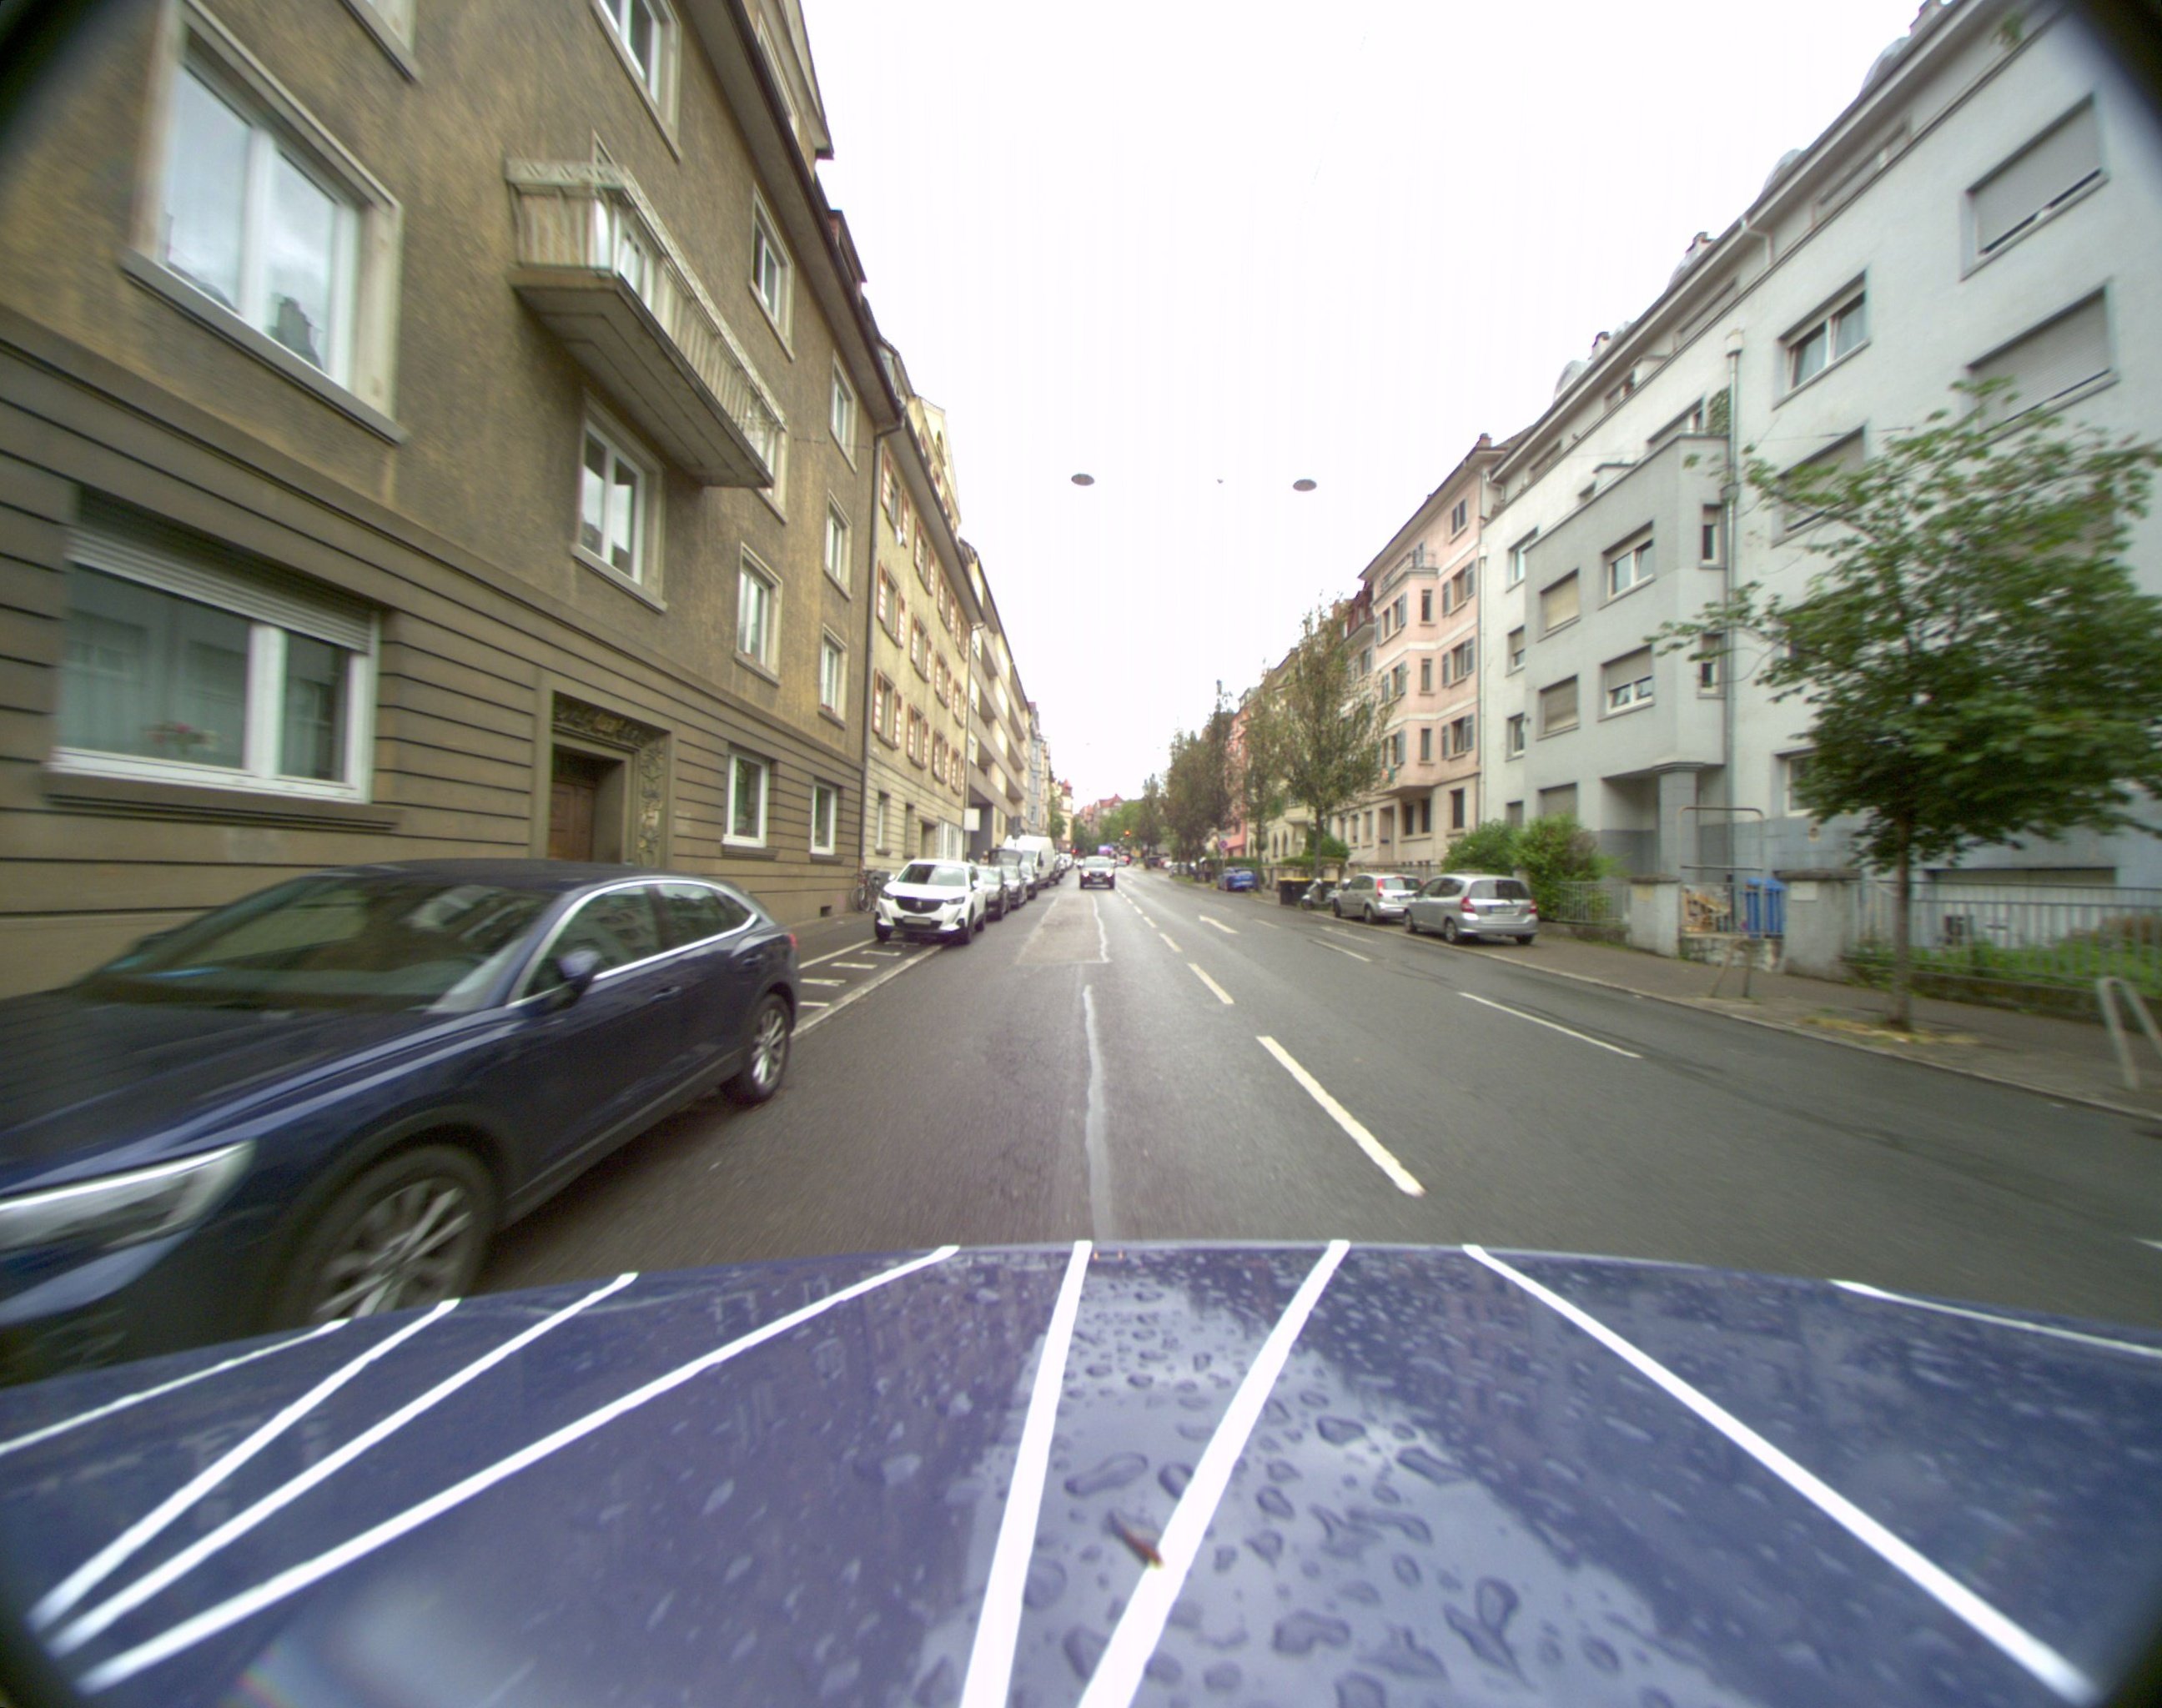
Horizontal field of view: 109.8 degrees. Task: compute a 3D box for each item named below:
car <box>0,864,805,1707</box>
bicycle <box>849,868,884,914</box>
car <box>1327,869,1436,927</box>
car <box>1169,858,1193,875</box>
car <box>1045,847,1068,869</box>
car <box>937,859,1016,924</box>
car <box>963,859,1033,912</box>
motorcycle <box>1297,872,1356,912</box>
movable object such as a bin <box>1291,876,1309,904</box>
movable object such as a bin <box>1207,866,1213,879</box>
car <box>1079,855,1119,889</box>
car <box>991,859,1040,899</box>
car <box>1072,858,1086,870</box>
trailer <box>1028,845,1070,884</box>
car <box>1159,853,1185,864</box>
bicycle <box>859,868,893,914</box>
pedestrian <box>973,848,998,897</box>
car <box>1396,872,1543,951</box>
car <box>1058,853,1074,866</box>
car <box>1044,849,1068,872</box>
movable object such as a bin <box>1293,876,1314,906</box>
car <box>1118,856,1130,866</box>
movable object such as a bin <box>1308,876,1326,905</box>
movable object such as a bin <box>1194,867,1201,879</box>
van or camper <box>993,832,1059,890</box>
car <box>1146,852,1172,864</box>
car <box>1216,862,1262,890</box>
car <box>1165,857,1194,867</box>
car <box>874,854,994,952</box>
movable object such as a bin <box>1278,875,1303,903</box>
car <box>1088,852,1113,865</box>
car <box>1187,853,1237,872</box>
[{"bbox_3d":[-2.925,0.874,3.312,1.795,1.539,4.226,2,0,1],"label":"car"},{"bbox_3d":[-5.623,0.938,19.967,0.248,1.067,2.106,3,1,1],"label":"bicycle"},{"bbox_3d":[8.671,1.222,22.288,1.605,1.388,3.886,1,1,0],"label":"car"},{"bbox_3d":[9.413,1.145,71.776,1.685,1.409,4.137,2,1,1],"label":"car"},{"bbox_3d":[-1.969,0.301,62.477,1.751,1.630,4.273,2,1,0],"label":"car"},{"bbox_3d":[-2.784,0.956,20.892,1.636,1.470,3.734,4,0,-1],"label":"car"},{"bbox_3d":[-2.686,0.972,25.497,1.782,1.471,4.587,1,1,0],"label":"car"},{"bbox_3d":[8.593,1.315,26.612,1.806,1.307,0.743,1,1,42],"label":"motorcycle"},{"bbox_3d":[8.464,1.389,29.359,0.472,1.052,0.483,-2,2,-8],"label":"movable object such as a bin"},{"bbox_3d":[9.505,1.378,55.993,0.365,0.906,0.572,-1,1,0],"label":"movable object such as a bin"},{"bbox_3d":[0.893,0.920,39.812,1.890,1.543,3.999,-2,1,-1],"label":"car"},{"bbox_3d":[-2.621,0.968,31.078,1.782,1.470,4.188,1,0,-2],"label":"car"},{"bbox_3d":[-0.245,1.260,97.422,1.709,1.389,3.932,-2,0,1],"label":"car"},{"bbox_3d":[-1.869,0.631,46.409,1.998,2.139,5.074,3,-1,3],"label":"trailer"},{"bbox_3d":[14.232,0.726,119.135,3.928,1.613,1.592,2,1,1],"label":"car"},{"bbox_3d":[-5.374,0.949,19.991,0.248,1.067,2.106,3,1,1],"label":"bicycle"},{"bbox_3d":[-3.559,0.674,28.327,0.688,1.777,0.712,2,2,-23],"label":"pedestrian"},{"bbox_3d":[8.718,1.217,17.431,1.604,1.443,3.888,1,1,4],"label":"car"},{"bbox_3d":[-1.774,0.626,91.188,1.709,1.434,3.932,2,1,1],"label":"car"},{"bbox_3d":[-2.271,0.582,70.571,1.994,1.944,4.822,2,1,0],"label":"car"},{"bbox_3d":[8.371,1.393,28.599,0.526,1.052,0.482,-3,2,-21],"label":"movable object such as a bin"},{"bbox_3d":[7.443,1.229,131.818,1.772,1.540,3.652,0,1,0],"label":"car"},{"bbox_3d":[8.956,1.382,28.797,0.472,1.052,0.483,-2,2,-8],"label":"movable object such as a bin"},{"bbox_3d":[8.558,1.402,55.894,0.365,0.884,0.572,-1,1,0],"label":"movable object such as a bin"},{"bbox_3d":[-2.738,0.335,39.411,2.188,2.683,6.423,2,0,7],"label":"van or camper"},{"bbox_3d":[12.436,0.638,121.702,3.930,1.836,1.867,2,1,-2],"label":"car"},{"bbox_3d":[8.925,1.223,43.306,1.683,1.378,4.602,1,1,0],"label":"car"},{"bbox_3d":[14.111,1.176,108.602,3.928,1.289,1.646,2,1,1],"label":"car"},{"bbox_3d":[-2.848,0.867,15.611,1.636,1.629,4.194,4,0,-1],"label":"car"},{"bbox_3d":[8.263,1.373,29.932,0.827,1.052,0.483,-2,2,2],"label":"movable object such as a bin"},{"bbox_3d":[2.344,0.510,91.361,1.672,1.464,3.645,-1,1,-24],"label":"car"},{"bbox_3d":[13.371,0.863,77.597,4.731,1.894,1.918,0,1,-1],"label":"car"}]
